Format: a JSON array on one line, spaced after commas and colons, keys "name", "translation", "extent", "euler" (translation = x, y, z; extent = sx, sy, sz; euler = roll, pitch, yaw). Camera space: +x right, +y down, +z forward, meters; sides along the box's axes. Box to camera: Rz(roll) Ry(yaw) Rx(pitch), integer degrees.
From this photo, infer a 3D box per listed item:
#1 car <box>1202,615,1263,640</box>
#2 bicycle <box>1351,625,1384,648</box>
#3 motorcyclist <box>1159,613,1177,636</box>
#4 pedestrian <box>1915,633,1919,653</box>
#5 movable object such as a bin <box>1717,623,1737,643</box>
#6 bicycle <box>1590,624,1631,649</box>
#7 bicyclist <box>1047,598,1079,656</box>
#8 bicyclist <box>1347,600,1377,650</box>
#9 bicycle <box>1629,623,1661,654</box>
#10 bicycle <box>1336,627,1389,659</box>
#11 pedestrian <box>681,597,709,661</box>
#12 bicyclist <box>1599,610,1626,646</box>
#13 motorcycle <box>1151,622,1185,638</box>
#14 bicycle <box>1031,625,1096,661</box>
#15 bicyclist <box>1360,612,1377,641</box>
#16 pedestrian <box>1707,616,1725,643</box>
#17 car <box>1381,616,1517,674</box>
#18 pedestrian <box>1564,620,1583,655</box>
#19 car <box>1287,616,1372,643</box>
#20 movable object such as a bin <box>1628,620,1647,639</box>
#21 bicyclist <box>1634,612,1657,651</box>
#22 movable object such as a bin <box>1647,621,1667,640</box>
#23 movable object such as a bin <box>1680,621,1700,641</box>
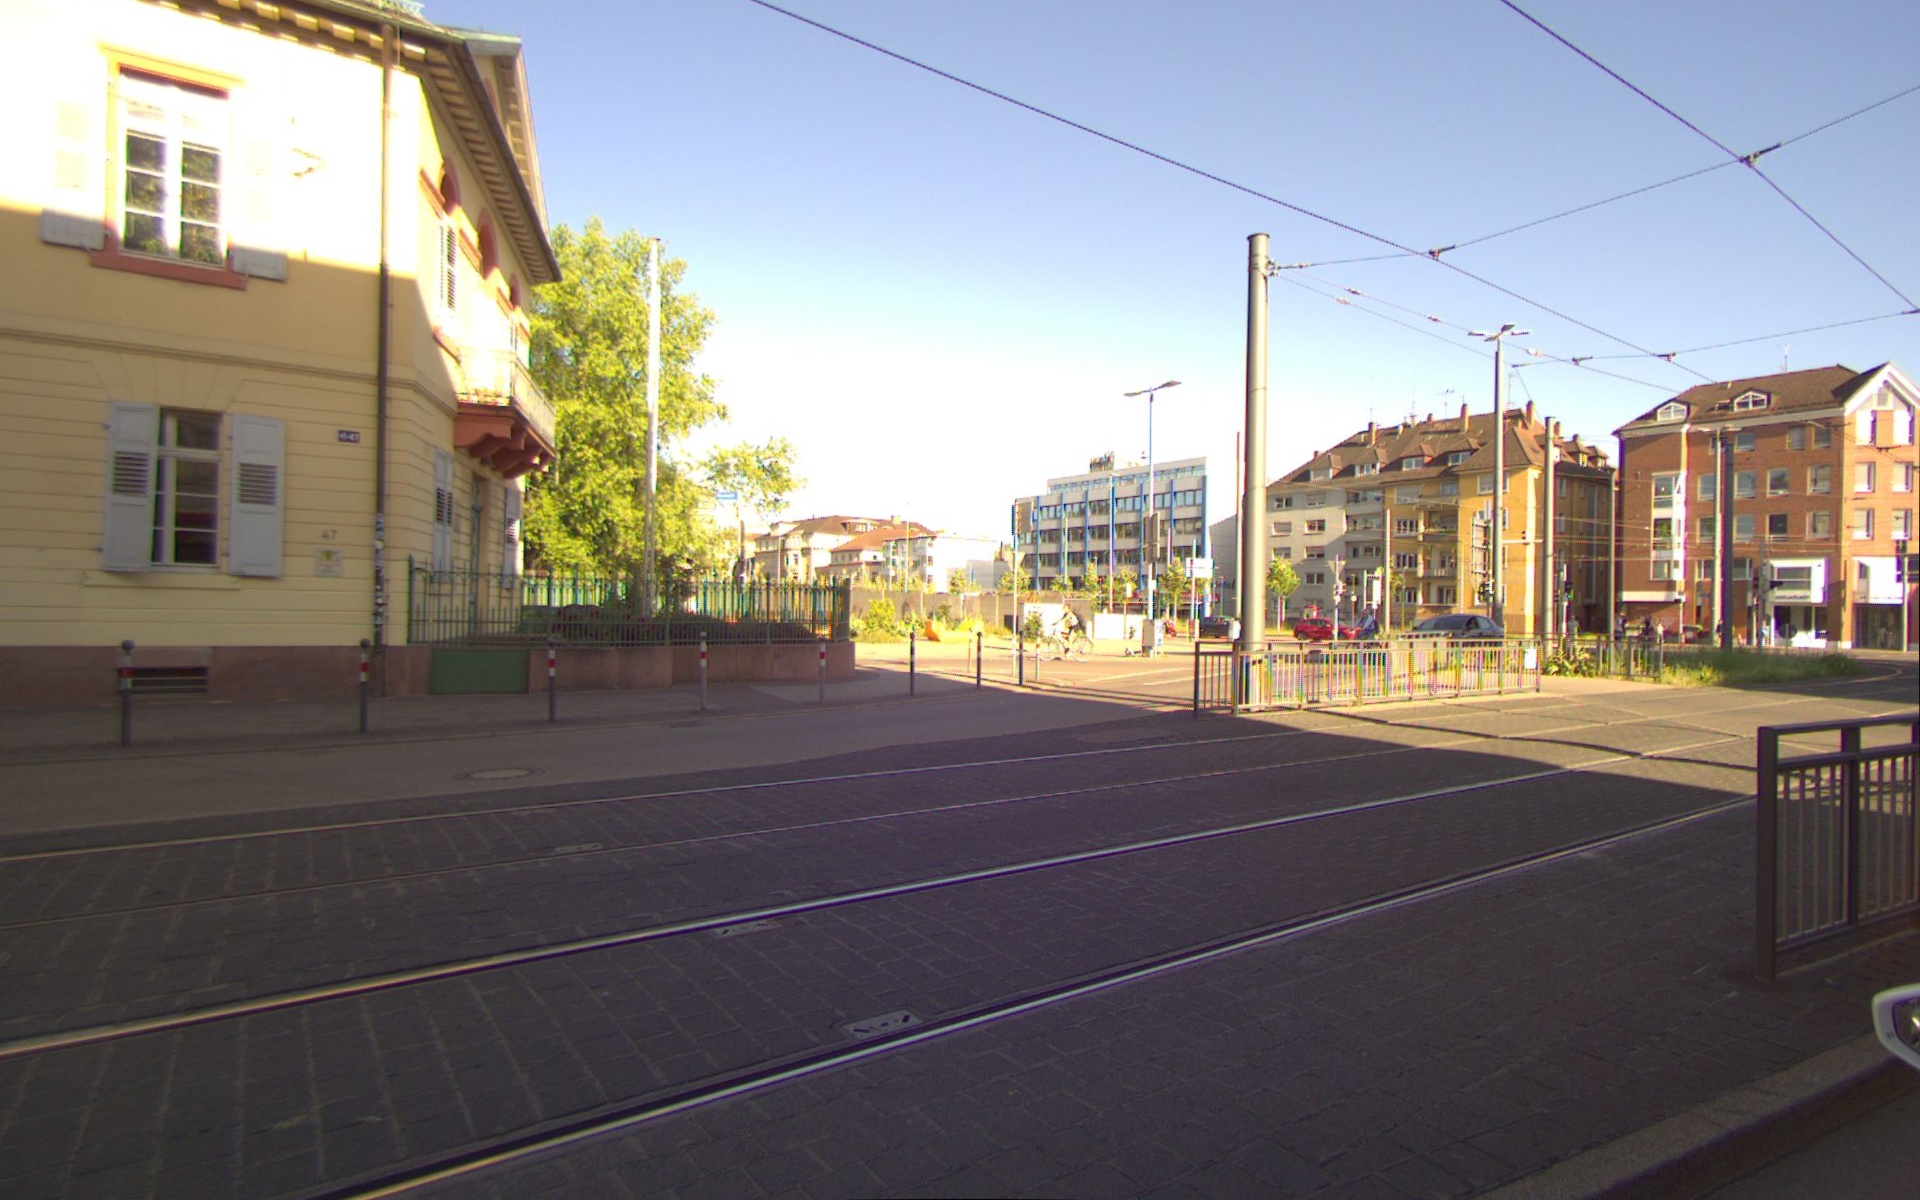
[{"name": "car", "translation": [17.711, 1.754, 65.473], "extent": [1.560, 1.491, 3.673], "euler": [2, 0, -36]}, {"name": "bicycle", "translation": [22.104, 1.975, 54.501], "extent": [0.608, 1.148, 1.481], "euler": [2, 0, -43]}, {"name": "motorcyclist", "translation": [14.426, 1.719, 69.719], "extent": [0.775, 1.544, 0.914], "euler": [2, 0, -36]}, {"name": "pedestrian", "translation": [77.621, 3.479, 80.735], "extent": [0.848, 1.589, 0.886], "euler": [2, 0, -8]}, {"name": "movable object such as a bin", "translation": [58.073, 2.521, 76.056], "extent": [1.087, 1.456, 0.988], "euler": [2, 0, -39]}, {"name": "bicycle", "translation": [27.557, 1.557, 42.536], "extent": [1.862, 1.027, 0.647], "euler": [2, 0, -29]}, {"name": "bicyclist", "translation": [3.066, 0.796, 29.844], "extent": [0.758, 1.695, 0.524], "euler": [2, 0, -18]}, {"name": "bicyclist", "translation": [13.716, 0.848, 34.247], "extent": [0.759, 1.695, 0.519], "euler": [2, 0, -23]}, {"name": "bicycle", "translation": [30.007, 1.673, 43.981], "extent": [2.010, 1.308, 0.569], "euler": [2, 0, -39]}, {"name": "bicycle", "translation": [13.742, 1.462, 34.273], "extent": [1.858, 1.027, 0.528], "euler": [2, 0, -24]}, {"name": "pedestrian", "translation": [-7.700, 0.842, 29.157], "extent": [0.694, 1.841, 0.593], "euler": [2, 0, -20]}, {"name": "bicyclist", "translation": [27.693, 1.186, 42.615], "extent": [0.721, 1.473, 0.661], "euler": [2, 0, -28]}, {"name": "motorcycle", "translation": [14.431, 2.075, 69.710], "extent": [0.784, 0.997, 2.342], "euler": [2, 0, -36]}, {"name": "bicycle", "translation": [3.074, 1.284, 29.855], "extent": [1.867, 1.027, 0.529], "euler": [2, 0, -19]}, {"name": "bicyclist", "translation": [22.150, 1.446, 54.461], "extent": [0.605, 1.513, 0.608], "euler": [2, 0, -44]}, {"name": "pedestrian", "translation": [49.871, 1.944, 66.245], "extent": [0.921, 1.733, 0.690], "euler": [2, 0, -36]}, {"name": "car", "translation": [14.695, 1.347, 30.131], "extent": [4.074, 1.581, 1.676], "euler": [2, 0, -30]}, {"name": "pedestrian", "translation": [30.831, 1.874, 50.475], "extent": [0.700, 1.711, 0.619], "euler": [-1, 2, -42]}, {"name": "car", "translation": [21.908, 1.735, 59.724], "extent": [1.768, 1.529, 4.513], "euler": [1, -2, -39]}, {"name": "movable object such as a bin", "translation": [54.572, 2.365, 80.888], "extent": [1.087, 1.456, 0.988], "euler": [2, 0, -39]}, {"name": "bicyclist", "translation": [29.999, 1.385, 43.975], "extent": [0.799, 1.671, 0.584], "euler": [2, 0, -38]}, {"name": "movable object such as a bin", "translation": [55.443, 2.395, 79.874], "extent": [1.087, 1.456, 0.988], "euler": [2, 0, -39]}, {"name": "movable object such as a bin", "translation": [56.687, 2.395, 77.963], "extent": [1.087, 1.456, 0.988], "euler": [2, 0, -39]}]
